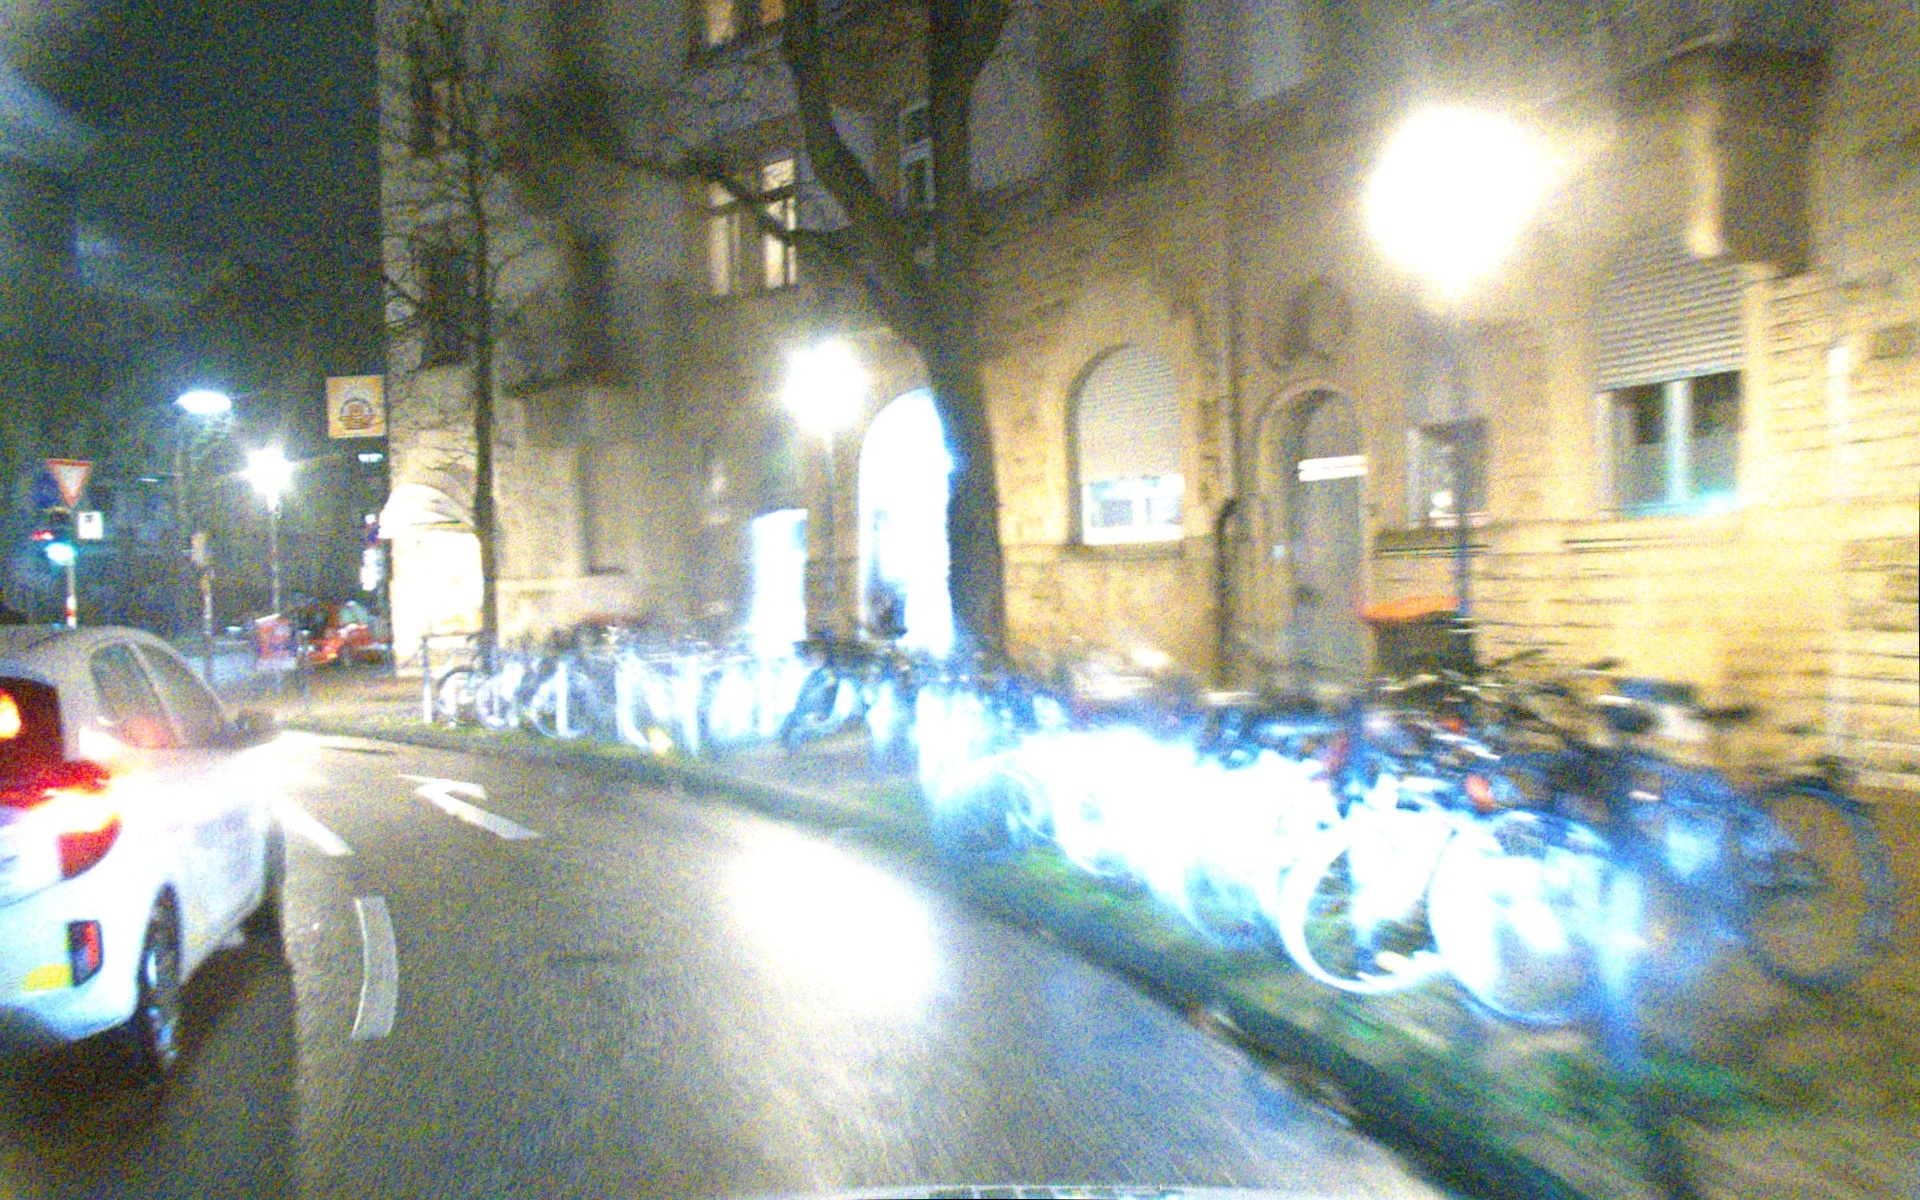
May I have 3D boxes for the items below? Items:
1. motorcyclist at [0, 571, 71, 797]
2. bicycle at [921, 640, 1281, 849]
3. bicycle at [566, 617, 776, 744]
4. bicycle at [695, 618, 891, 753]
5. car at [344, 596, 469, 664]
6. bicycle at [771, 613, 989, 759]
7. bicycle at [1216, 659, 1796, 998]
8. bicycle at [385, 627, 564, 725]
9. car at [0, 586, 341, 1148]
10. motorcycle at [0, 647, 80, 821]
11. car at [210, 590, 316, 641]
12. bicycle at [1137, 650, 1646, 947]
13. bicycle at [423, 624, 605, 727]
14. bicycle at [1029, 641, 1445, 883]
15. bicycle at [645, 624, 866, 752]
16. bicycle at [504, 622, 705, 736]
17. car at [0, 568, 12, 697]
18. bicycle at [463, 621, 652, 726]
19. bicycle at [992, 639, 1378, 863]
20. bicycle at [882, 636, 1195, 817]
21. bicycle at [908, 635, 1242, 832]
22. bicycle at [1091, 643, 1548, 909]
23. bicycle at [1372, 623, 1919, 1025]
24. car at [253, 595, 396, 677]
[{"bbox_3d":[-7.469,0.643,12.993,0.782,1.724,0.810,0,-1,-34],"label":"motorcyclist"},{"bbox_3d":[0.798,0.799,9.511,1.934,1.024,0.640,-3,0,-12],"label":"bicycle"},{"bbox_3d":[-2.813,0.765,16.247,1.957,1.083,0.633,-3,1,-41],"label":"bicycle"},{"bbox_3d":[-1.489,0.747,15.137,0.629,1.072,1.969,-2,1,34],"label":"bicycle"},{"bbox_3d":[-14.291,0.734,42.895,1.611,1.466,4.057,-6,1,2],"label":"car"},{"bbox_3d":[-0.678,0.717,14.423,1.808,1.106,0.711,-3,1,-40],"label":"bicycle"},{"bbox_3d":[1.981,0.784,6.085,1.892,1.004,0.728,-3,0,-12],"label":"bicycle"},{"bbox_3d":[-5.841,0.895,19.978,1.957,1.024,0.633,-3,1,-41],"label":"bicycle"},{"bbox_3d":[-3.602,0.766,6.246,1.887,1.542,3.585,-3,1,-14],"label":"car"},{"bbox_3d":[-7.506,1.007,13.062,0.782,1.234,2.224,0,-1,-33],"label":"motorcycle"},{"bbox_3d":[-28.776,0.611,68.450,1.952,1.857,5.311,1,2,2],"label":"car"},{"bbox_3d":[1.786,0.784,6.921,1.934,1.024,0.686,-3,0,-12],"label":"bicycle"},{"bbox_3d":[-5.212,0.867,19.425,1.957,1.053,0.633,-3,1,-41],"label":"bicycle"},{"bbox_3d":[1.376,0.778,8.314,1.934,1.024,0.640,-3,0,-12],"label":"bicycle"},{"bbox_3d":[-1.884,0.787,15.152,1.934,1.024,0.640,-3,0,-12],"label":"bicycle"},{"bbox_3d":[-3.688,0.797,17.271,1.957,1.024,0.633,-3,1,-41],"label":"bicycle"},{"bbox_3d":[-19.326,0.647,31.009,2.189,2.484,5.342,-1,1,-25],"label":"car"},{"bbox_3d":[-4.479,0.794,18.490,1.957,1.024,0.633,-3,1,-41],"label":"bicycle"},{"bbox_3d":[1.204,0.781,8.941,1.934,1.024,0.640,-3,0,-12],"label":"bicycle"},{"bbox_3d":[0.509,0.810,10.927,1.934,1.024,0.640,-3,0,-12],"label":"bicycle"},{"bbox_3d":[0.703,0.796,10.252,1.934,1.051,0.640,-3,0,-12],"label":"bicycle"},{"bbox_3d":[1.641,0.771,7.620,1.934,1.024,0.640,-3,0,-12],"label":"bicycle"},{"bbox_3d":[2.461,0.698,5.642,1.892,1.134,0.728,-3,0,-12],"label":"bicycle"},{"bbox_3d":[-14.400,0.779,37.678,1.614,1.550,3.582,-6,1,2],"label":"car"}]
